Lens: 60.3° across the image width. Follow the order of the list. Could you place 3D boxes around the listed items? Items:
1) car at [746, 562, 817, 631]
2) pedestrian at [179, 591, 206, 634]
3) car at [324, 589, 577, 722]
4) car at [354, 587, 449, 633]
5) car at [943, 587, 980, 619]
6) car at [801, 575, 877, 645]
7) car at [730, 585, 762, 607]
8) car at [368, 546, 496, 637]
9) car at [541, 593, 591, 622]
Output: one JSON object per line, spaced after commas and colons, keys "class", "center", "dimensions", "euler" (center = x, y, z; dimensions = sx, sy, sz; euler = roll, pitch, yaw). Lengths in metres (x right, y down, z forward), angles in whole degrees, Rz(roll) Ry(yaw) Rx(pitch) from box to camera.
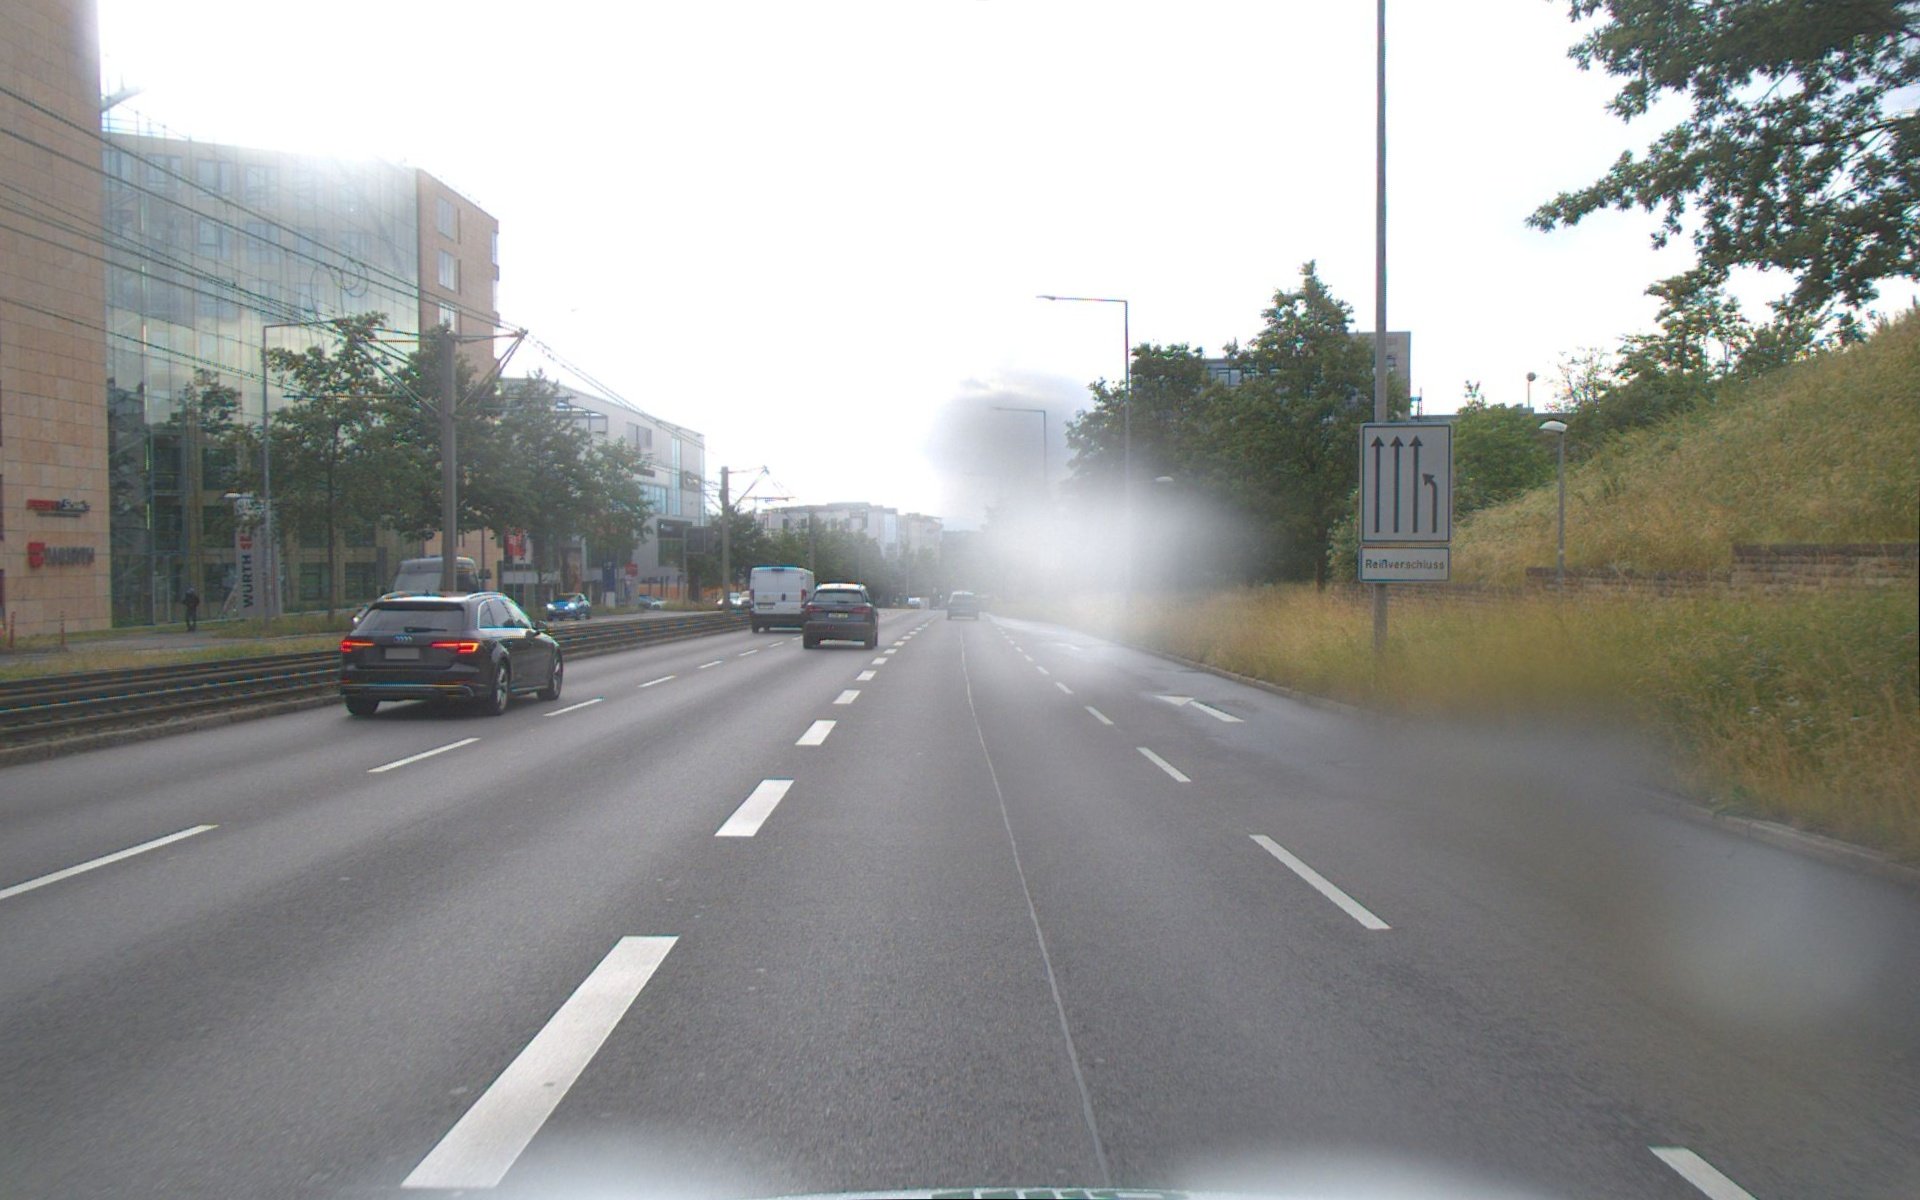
{"class": "car", "center": [-6.336, -0.120, 59.227], "dimensions": [2.222, 2.325, 4.757], "euler": [1, 0, -3]}
{"class": "pedestrian", "center": [-30.213, 0.495, 65.109], "dimensions": [0.629, 1.660, 0.831], "euler": [1, -2, -3]}
{"class": "car", "center": [-6.157, 0.600, 20.590], "dimensions": [1.750, 1.438, 4.804], "euler": [1, 0, -1]}
{"class": "car", "center": [-20.248, 0.339, 60.166], "dimensions": [1.723, 1.560, 4.817], "euler": [1, 0, 0]}
{"class": "car", "center": [0.038, 0.176, 89.078], "dimensions": [1.753, 1.619, 3.997], "euler": [-1, 0, -3]}
{"class": "car", "center": [-3.159, 0.298, 43.702], "dimensions": [1.884, 1.741, 4.095], "euler": [1, -2, -3]}
{"class": "car", "center": [-16.223, -0.288, 125.472], "dimensions": [1.735, 1.528, 4.200], "euler": [1, -2, 2]}
{"class": "car", "center": [-17.532, -0.261, 55.290], "dimensions": [2.334, 2.867, 5.612], "euler": [1, 0, 1]}
{"class": "car", "center": [-22.275, 0.439, 93.667], "dimensions": [1.803, 1.479, 4.024], "euler": [1, -2, 1]}
